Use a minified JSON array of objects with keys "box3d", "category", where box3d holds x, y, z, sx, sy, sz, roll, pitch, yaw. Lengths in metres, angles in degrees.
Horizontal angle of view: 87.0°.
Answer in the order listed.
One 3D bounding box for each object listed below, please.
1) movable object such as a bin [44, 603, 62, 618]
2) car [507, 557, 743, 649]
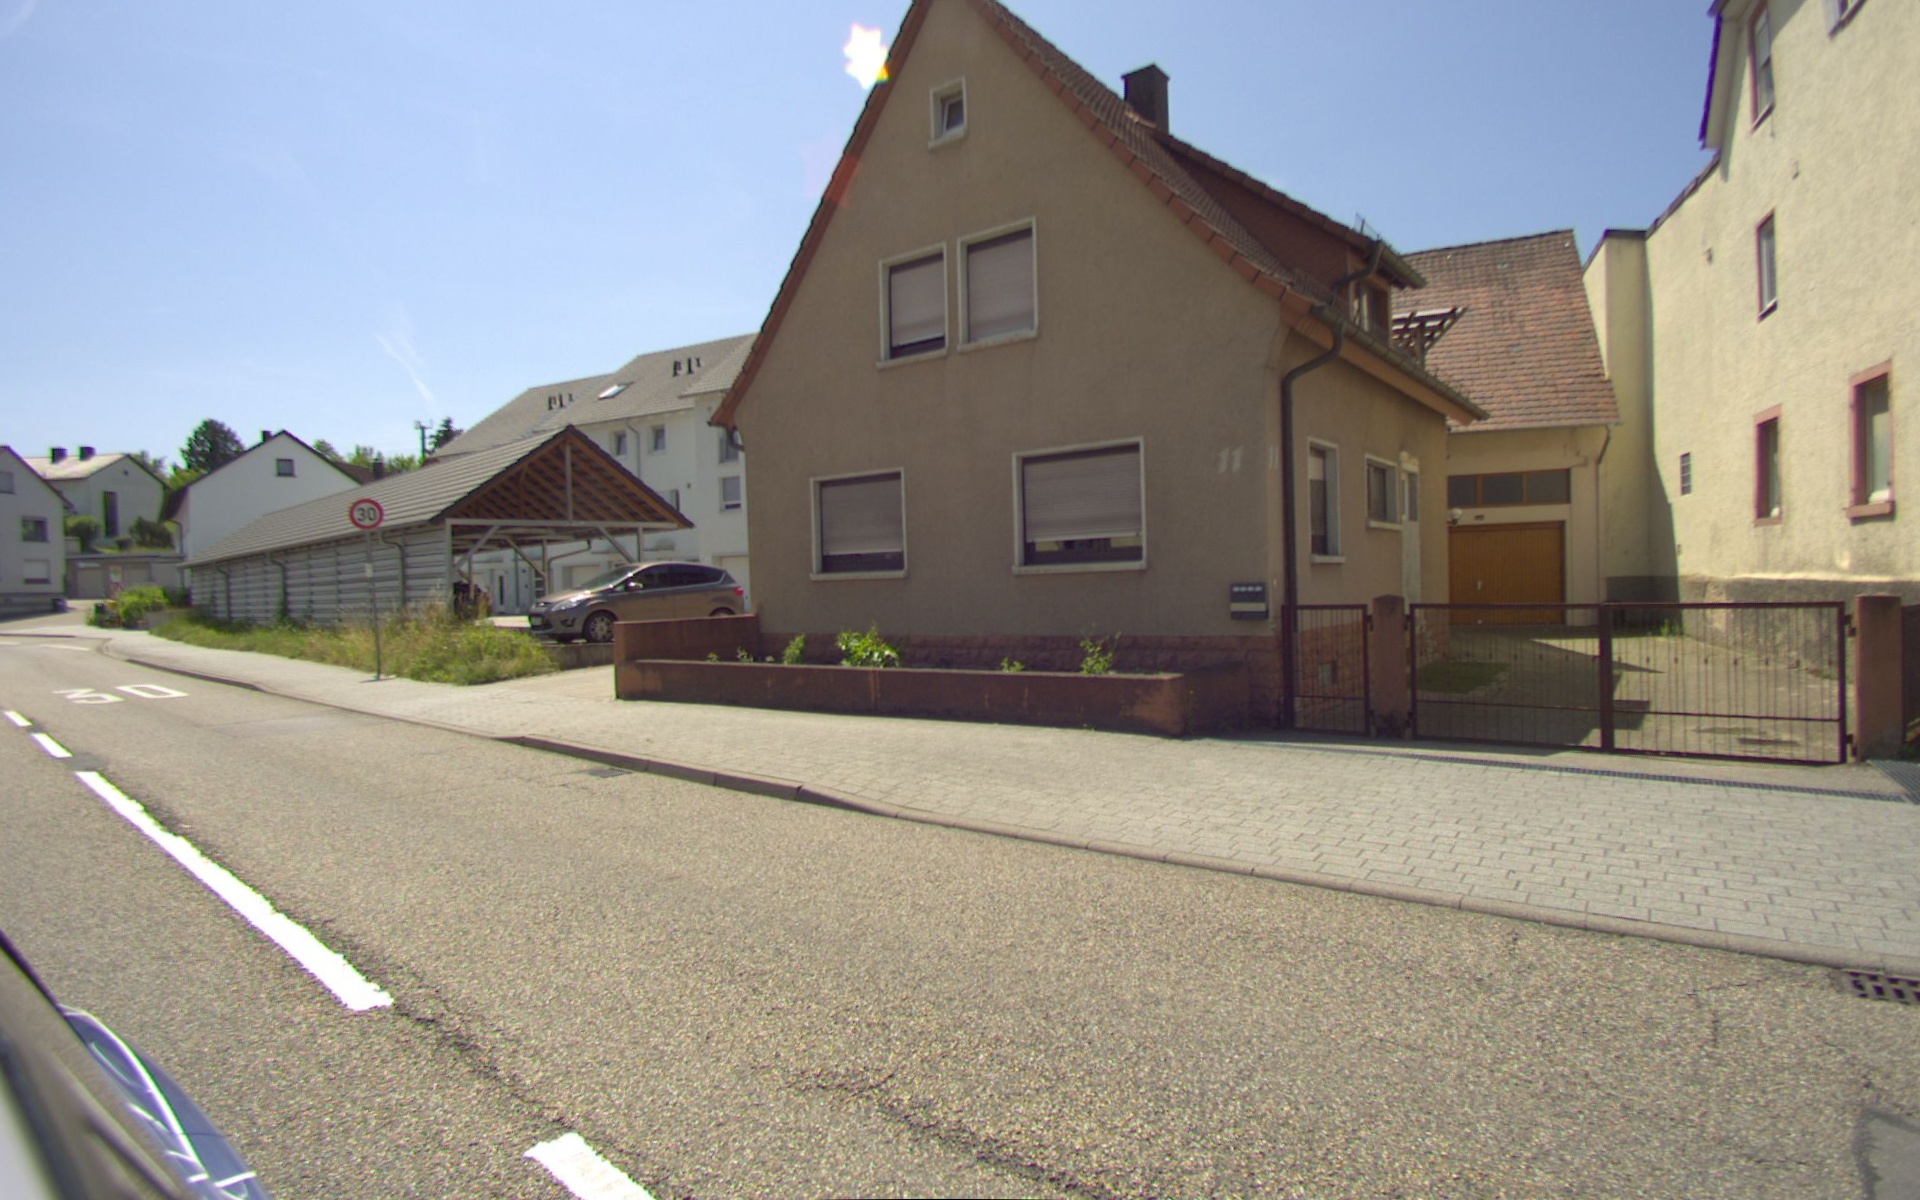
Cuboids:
[{"box3d":[-58.786,0.672,65.606,0.592,0.941,0.600,-1,1,-3],"category":"movable object such as a bin"},{"box3d":[-6.603,0.017,20.221,1.866,1.650,4.078,0,1,44],"category":"car"}]
